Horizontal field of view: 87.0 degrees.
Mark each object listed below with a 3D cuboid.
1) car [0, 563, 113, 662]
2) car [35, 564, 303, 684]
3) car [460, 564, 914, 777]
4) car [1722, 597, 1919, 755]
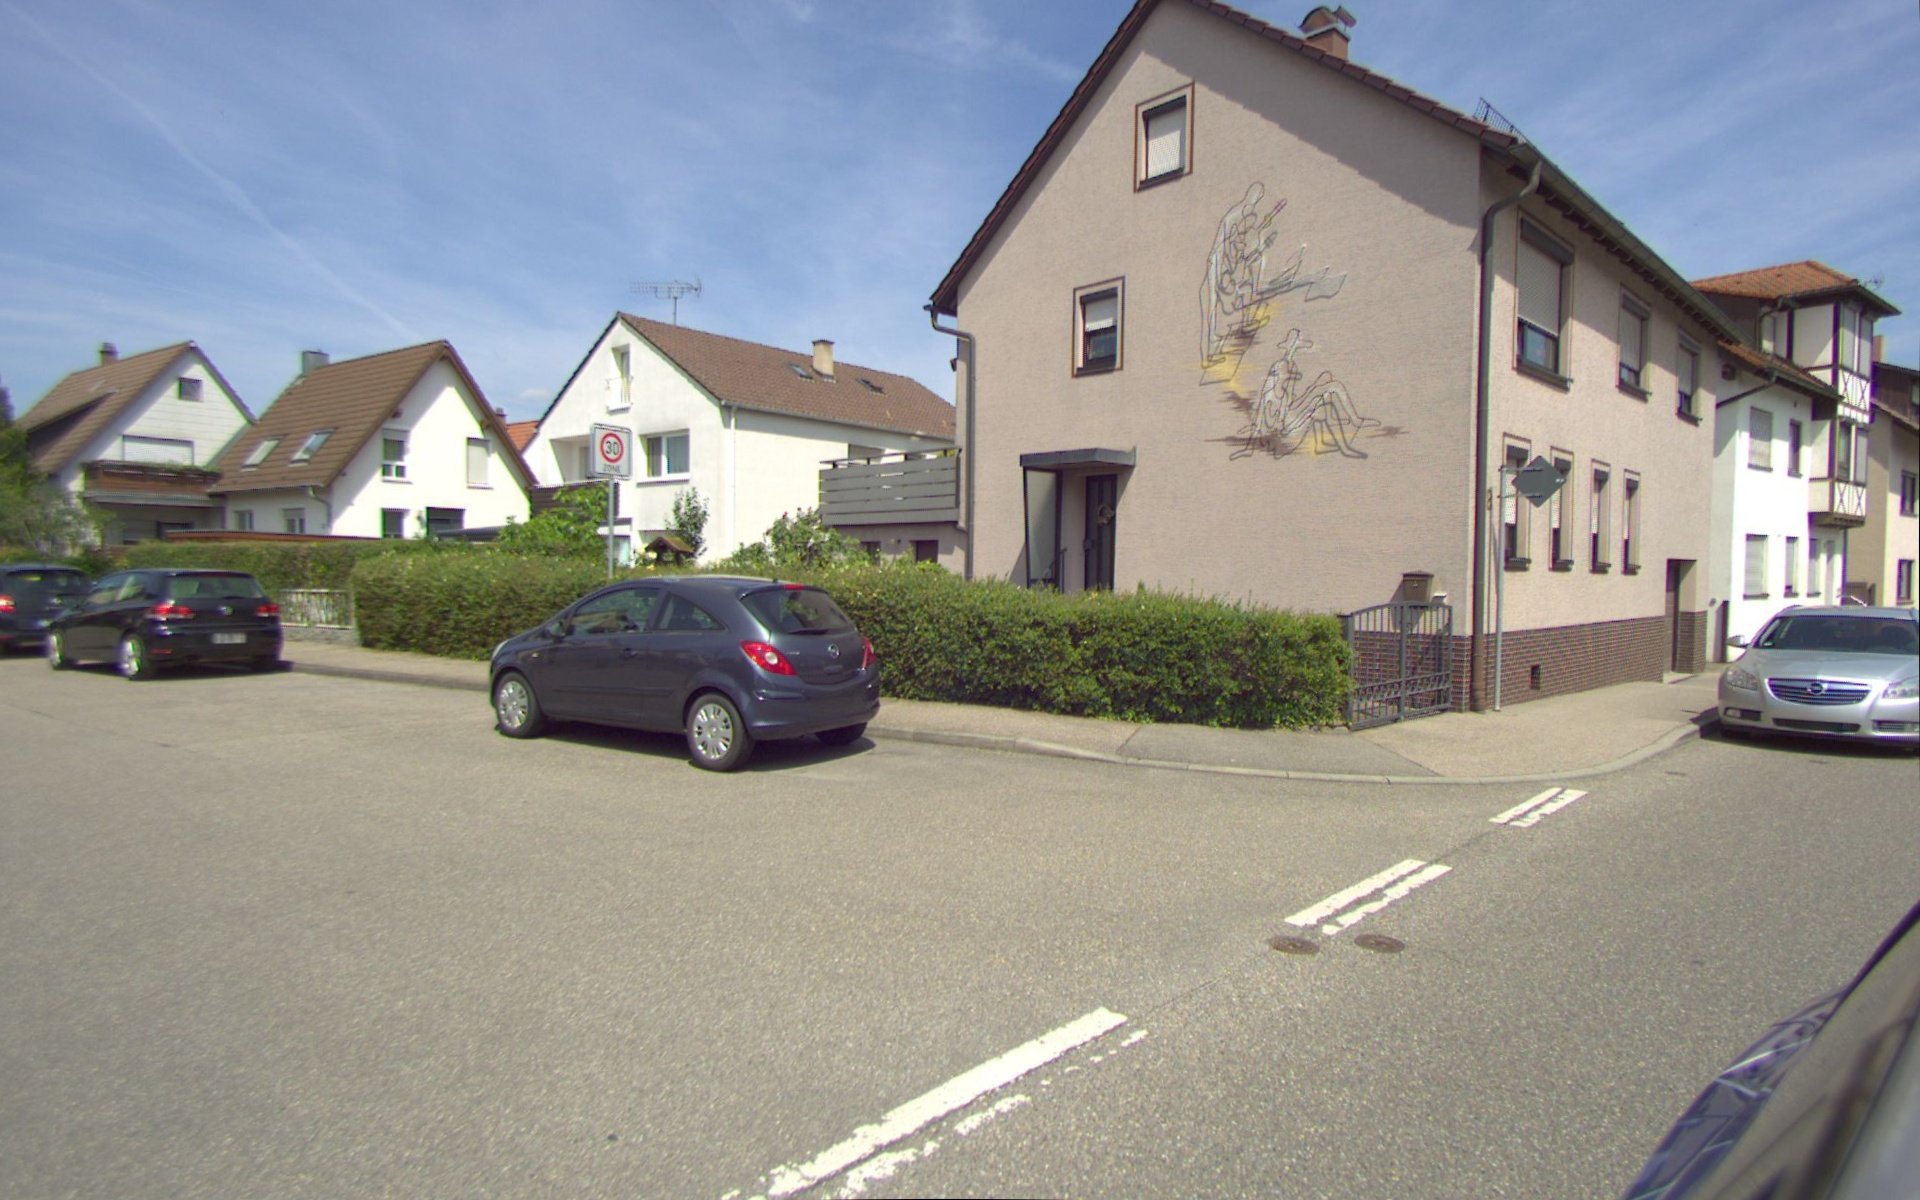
[{"bbox_3d":[-16.232,0.163,17.356,3.419,1.553,1.629,1,1,32],"label":"car"},{"bbox_3d":[-11.459,0.267,14.627,3.878,1.507,1.834,1,1,32],"label":"car"},{"bbox_3d":[-2.495,0.460,9.076,3.787,1.506,1.869,2,1,32],"label":"car"},{"bbox_3d":[10.176,0.707,11.348,4.261,1.460,1.789,0,0,-41],"label":"car"}]
